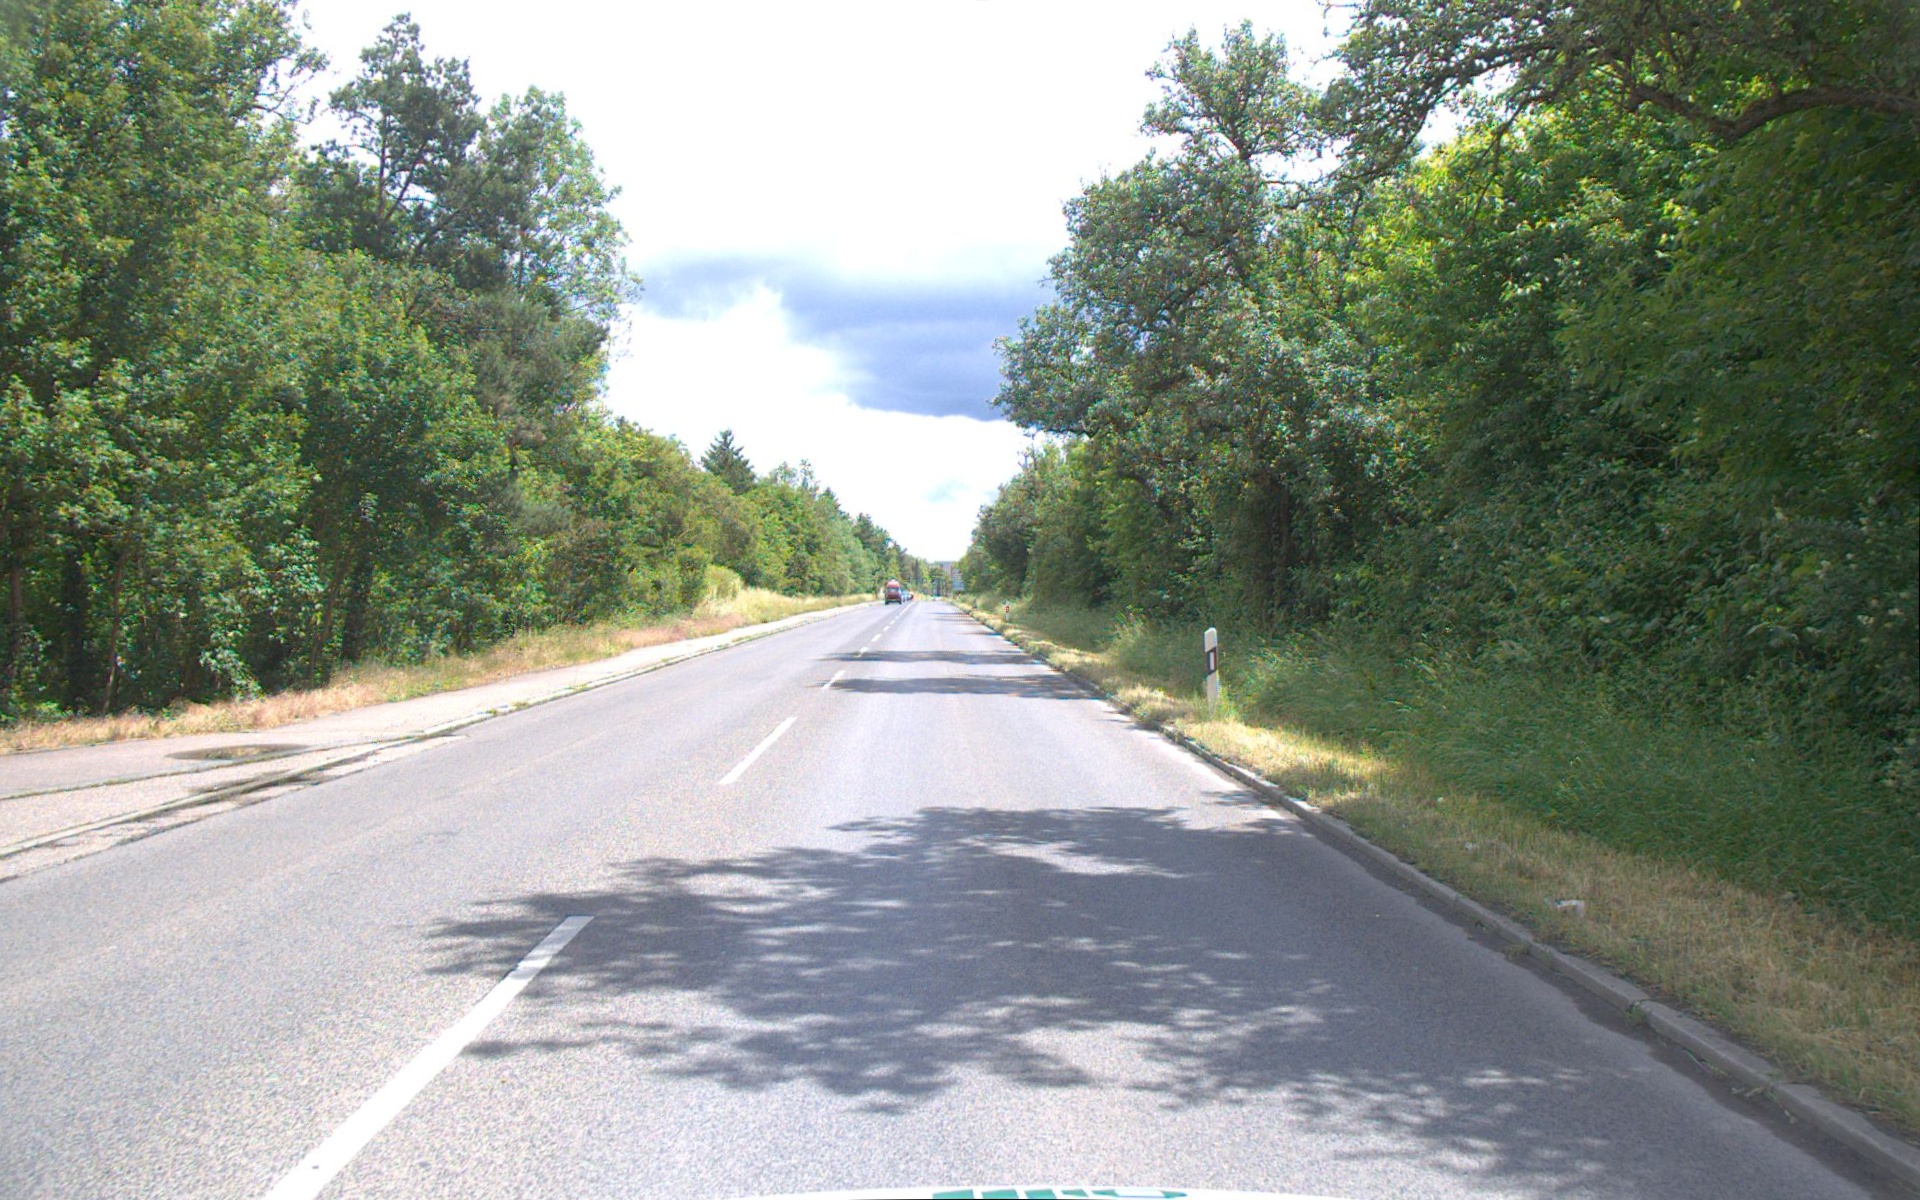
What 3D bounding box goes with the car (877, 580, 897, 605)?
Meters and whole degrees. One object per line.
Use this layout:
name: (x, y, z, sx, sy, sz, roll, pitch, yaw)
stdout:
car: (-7.848, -0.813, 178.716, 1.929, 2.594, 4.723, -3, 0, -1)
